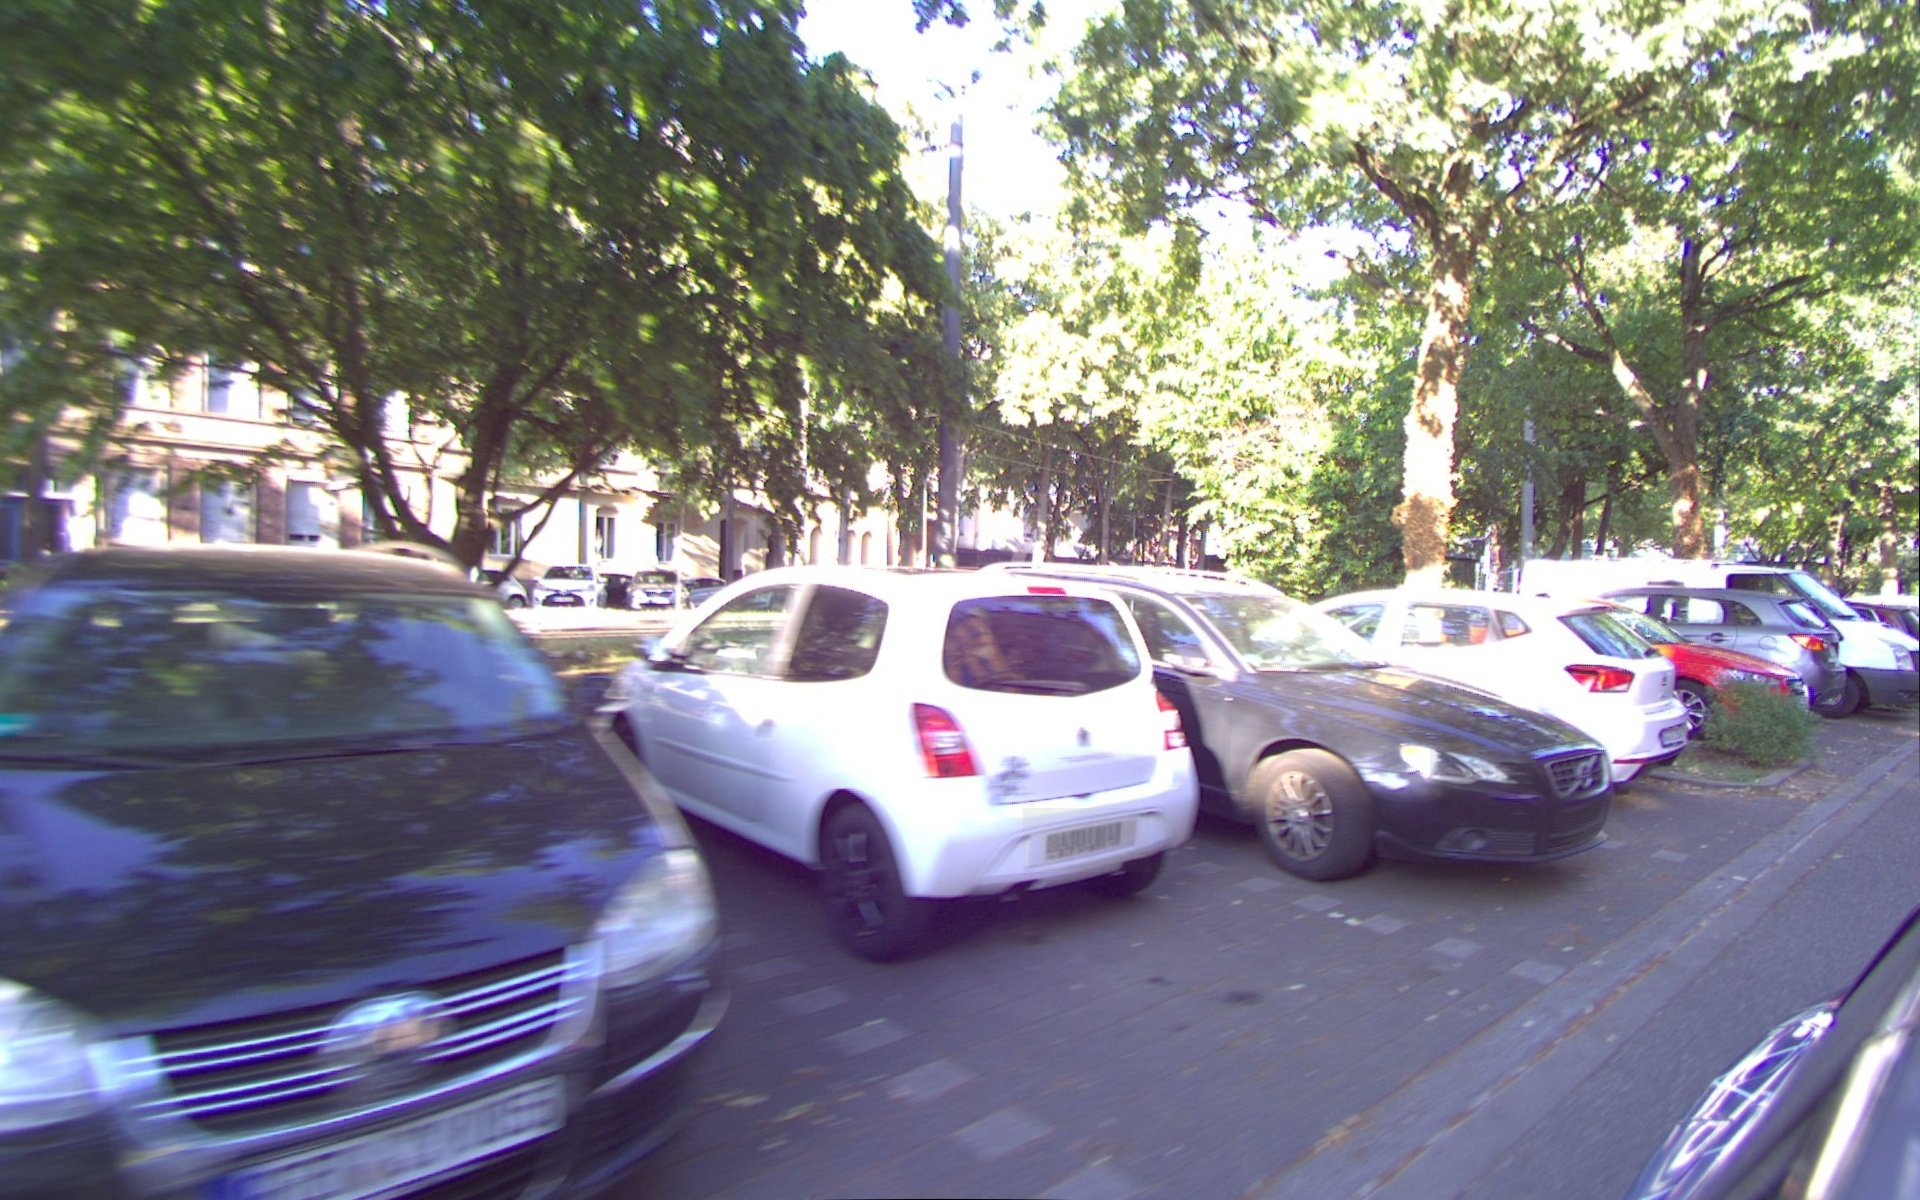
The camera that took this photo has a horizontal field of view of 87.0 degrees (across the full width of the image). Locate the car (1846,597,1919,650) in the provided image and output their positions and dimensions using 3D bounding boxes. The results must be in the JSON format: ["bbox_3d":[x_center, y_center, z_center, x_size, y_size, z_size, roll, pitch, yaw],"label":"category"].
[{"bbox_3d":[29.716,0.768,30.719,1.654,1.507,3.997,1,2,-40],"label":"car"}]

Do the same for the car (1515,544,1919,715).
[{"bbox_3d":[11.120,0.282,14.719,2.116,2.063,4.856,1,2,-40],"label":"car"}]

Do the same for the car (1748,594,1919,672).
[{"bbox_3d":[20.264,0.721,22.542,1.654,1.507,3.997,1,2,-40],"label":"car"}]

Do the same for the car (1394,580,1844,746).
[{"bbox_3d":[7.339,0.577,11.622,1.654,1.441,3.997,1,2,-40],"label":"car"}]

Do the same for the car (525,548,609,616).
[{"bbox_3d":[-11.032,-0.549,28.672,1.771,1.716,4.292,2,2,-16],"label":"car"}]

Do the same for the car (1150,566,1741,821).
[{"bbox_3d":[3.671,0.528,8.271,1.654,1.478,3.997,1,2,-40],"label":"car"}]

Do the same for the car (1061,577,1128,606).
[{"bbox_3d":[6.847,-0.472,51.868,1.711,1.294,4.010,2,2,-19],"label":"car"}]

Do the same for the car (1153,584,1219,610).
[{"bbox_3d":[12.730,-0.206,57.219,1.711,1.294,4.010,2,2,-19],"label":"car"}]

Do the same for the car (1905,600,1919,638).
[{"bbox_3d":[40.563,0.879,40.154,1.654,1.507,4.263,1,2,-40],"label":"car"}]

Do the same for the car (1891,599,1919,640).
[{"bbox_3d":[38.712,0.846,38.866,1.654,1.541,4.130,1,2,-40],"label":"car"}]

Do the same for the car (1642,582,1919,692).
[{"bbox_3d":[14.394,0.564,17.481,1.654,1.573,3.997,1,2,-40],"label":"car"}]

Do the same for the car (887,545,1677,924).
[{"bbox_3d":[1.644,0.478,6.720,1.963,1.592,4.714,0,2,-38],"label":"car"}]

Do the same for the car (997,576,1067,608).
[{"bbox_3d":[3.292,-0.385,47.028,1.711,1.294,4.010,2,2,-19],"label":"car"}]

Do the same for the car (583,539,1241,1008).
[{"bbox_3d":[-0.514,0.520,5.177,1.687,1.533,3.408,1,1,-38],"label":"car"}]

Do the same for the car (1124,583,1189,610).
[{"bbox_3d":[10.857,-0.205,56.077,1.711,1.294,4.010,2,2,-19],"label":"car"}]

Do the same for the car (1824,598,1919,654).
[{"bbox_3d":[27.664,0.780,29.121,1.654,1.507,3.997,1,2,-40],"label":"car"}]

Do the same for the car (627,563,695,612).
[{"bbox_3d":[-9.038,-0.428,30.363,1.771,1.294,4.292,2,2,-19],"label":"car"}]

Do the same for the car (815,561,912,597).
[{"bbox_3d":[-4.547,-0.966,48.167,1.990,1.587,4.549,3,2,38],"label":"car"}]

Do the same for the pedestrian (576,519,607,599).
[{"bbox_3d":[-13.959,-1.550,38.320,0.916,2.984,0.690,2,1,38],"label":"pedestrian"}]

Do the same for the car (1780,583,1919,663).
[{"bbox_3d":[23.562,0.575,25.682,1.654,1.855,3.997,1,2,-40],"label":"car"}]

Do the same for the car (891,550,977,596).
[{"bbox_3d":[-1.299,-1.364,52.326,1.990,2.199,4.549,3,2,38],"label":"car"}]

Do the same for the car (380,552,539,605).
[{"bbox_3d":[-16.242,-0.692,33.008,1.989,1.587,4.186,3,2,37],"label":"car"}]

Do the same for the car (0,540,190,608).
[{"bbox_3d":[-22.161,-0.645,25.150,1.992,1.587,4.525,3,2,40],"label":"car"}]

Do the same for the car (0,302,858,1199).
[{"bbox_3d":[-2.451,0.288,3.599,1.963,1.592,4.714,0,2,-38],"label":"car"}]

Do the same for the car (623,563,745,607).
[{"bbox_3d":[-10.802,-0.580,39.870,1.989,1.587,4.359,3,2,37],"label":"car"}]

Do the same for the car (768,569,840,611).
[{"bbox_3d":[-5.495,-0.384,35.254,1.711,1.294,4.010,2,2,-19],"label":"car"}]

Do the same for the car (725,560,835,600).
[{"bbox_3d":[-7.736,-0.855,43.851,1.990,1.587,4.549,3,2,38],"label":"car"}]

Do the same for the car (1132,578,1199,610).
[{"bbox_3d":[12.720,-0.394,62.921,1.714,1.788,4.003,1,2,-33],"label":"car"}]

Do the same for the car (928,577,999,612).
[{"bbox_3d":[0.086,-0.251,42.608,1.711,1.294,4.010,2,2,-19],"label":"car"}]

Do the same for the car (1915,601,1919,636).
[{"bbox_3d":[44.077,0.905,43.563,1.654,1.507,4.130,1,2,-40],"label":"car"}]

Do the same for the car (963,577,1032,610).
[{"bbox_3d":[1.611,-0.311,45.283,1.711,1.294,4.010,2,2,-19],"label":"car"}]

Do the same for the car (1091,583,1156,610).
[{"bbox_3d":[8.786,-0.206,54.555,1.711,1.294,4.010,2,2,-19],"label":"car"}]

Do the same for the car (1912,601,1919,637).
[{"bbox_3d":[42.252,0.892,41.664,1.654,1.507,4.263,1,2,-40],"label":"car"}]

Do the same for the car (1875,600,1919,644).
[{"bbox_3d":[35.085,0.838,35.639,1.654,1.507,3.997,1,2,-40],"label":"car"}]

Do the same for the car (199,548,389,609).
[{"bbox_3d":[-19.133,-0.595,29.224,1.989,1.587,4.186,3,2,37],"label":"car"}]

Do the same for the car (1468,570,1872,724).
[{"bbox_3d":[9.090,0.482,13.218,1.735,1.599,3.994,1,2,-42],"label":"car"}]

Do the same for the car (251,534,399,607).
[{"bbox_3d":[-14.656,-0.699,23.618,1.771,1.505,4.292,2,2,-16],"label":"car"}]

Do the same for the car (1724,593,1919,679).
[{"bbox_3d":[18.289,0.705,20.650,1.654,1.507,3.997,1,2,-40],"label":"car"}]

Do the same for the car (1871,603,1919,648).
[{"bbox_3d":[31.385,0.880,31.699,1.654,1.355,3.997,1,2,-40],"label":"car"}]

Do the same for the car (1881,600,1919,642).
[{"bbox_3d":[36.829,0.853,37.321,1.654,1.507,3.997,1,2,-40],"label":"car"}]

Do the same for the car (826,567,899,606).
[{"bbox_3d":[-3.654,-0.528,37.377,1.711,1.294,4.010,2,2,-19],"label":"car"}]

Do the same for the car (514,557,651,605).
[{"bbox_3d":[-13.481,-0.664,36.349,1.989,1.587,4.186,3,2,37],"label":"car"}]

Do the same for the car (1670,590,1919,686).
[{"bbox_3d":[16.123,0.652,19.231,1.654,1.507,3.997,1,2,-40],"label":"car"}]

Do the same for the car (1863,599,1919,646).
[{"bbox_3d":[33.567,0.827,34.447,1.654,1.507,3.997,1,2,-40],"label":"car"}]
